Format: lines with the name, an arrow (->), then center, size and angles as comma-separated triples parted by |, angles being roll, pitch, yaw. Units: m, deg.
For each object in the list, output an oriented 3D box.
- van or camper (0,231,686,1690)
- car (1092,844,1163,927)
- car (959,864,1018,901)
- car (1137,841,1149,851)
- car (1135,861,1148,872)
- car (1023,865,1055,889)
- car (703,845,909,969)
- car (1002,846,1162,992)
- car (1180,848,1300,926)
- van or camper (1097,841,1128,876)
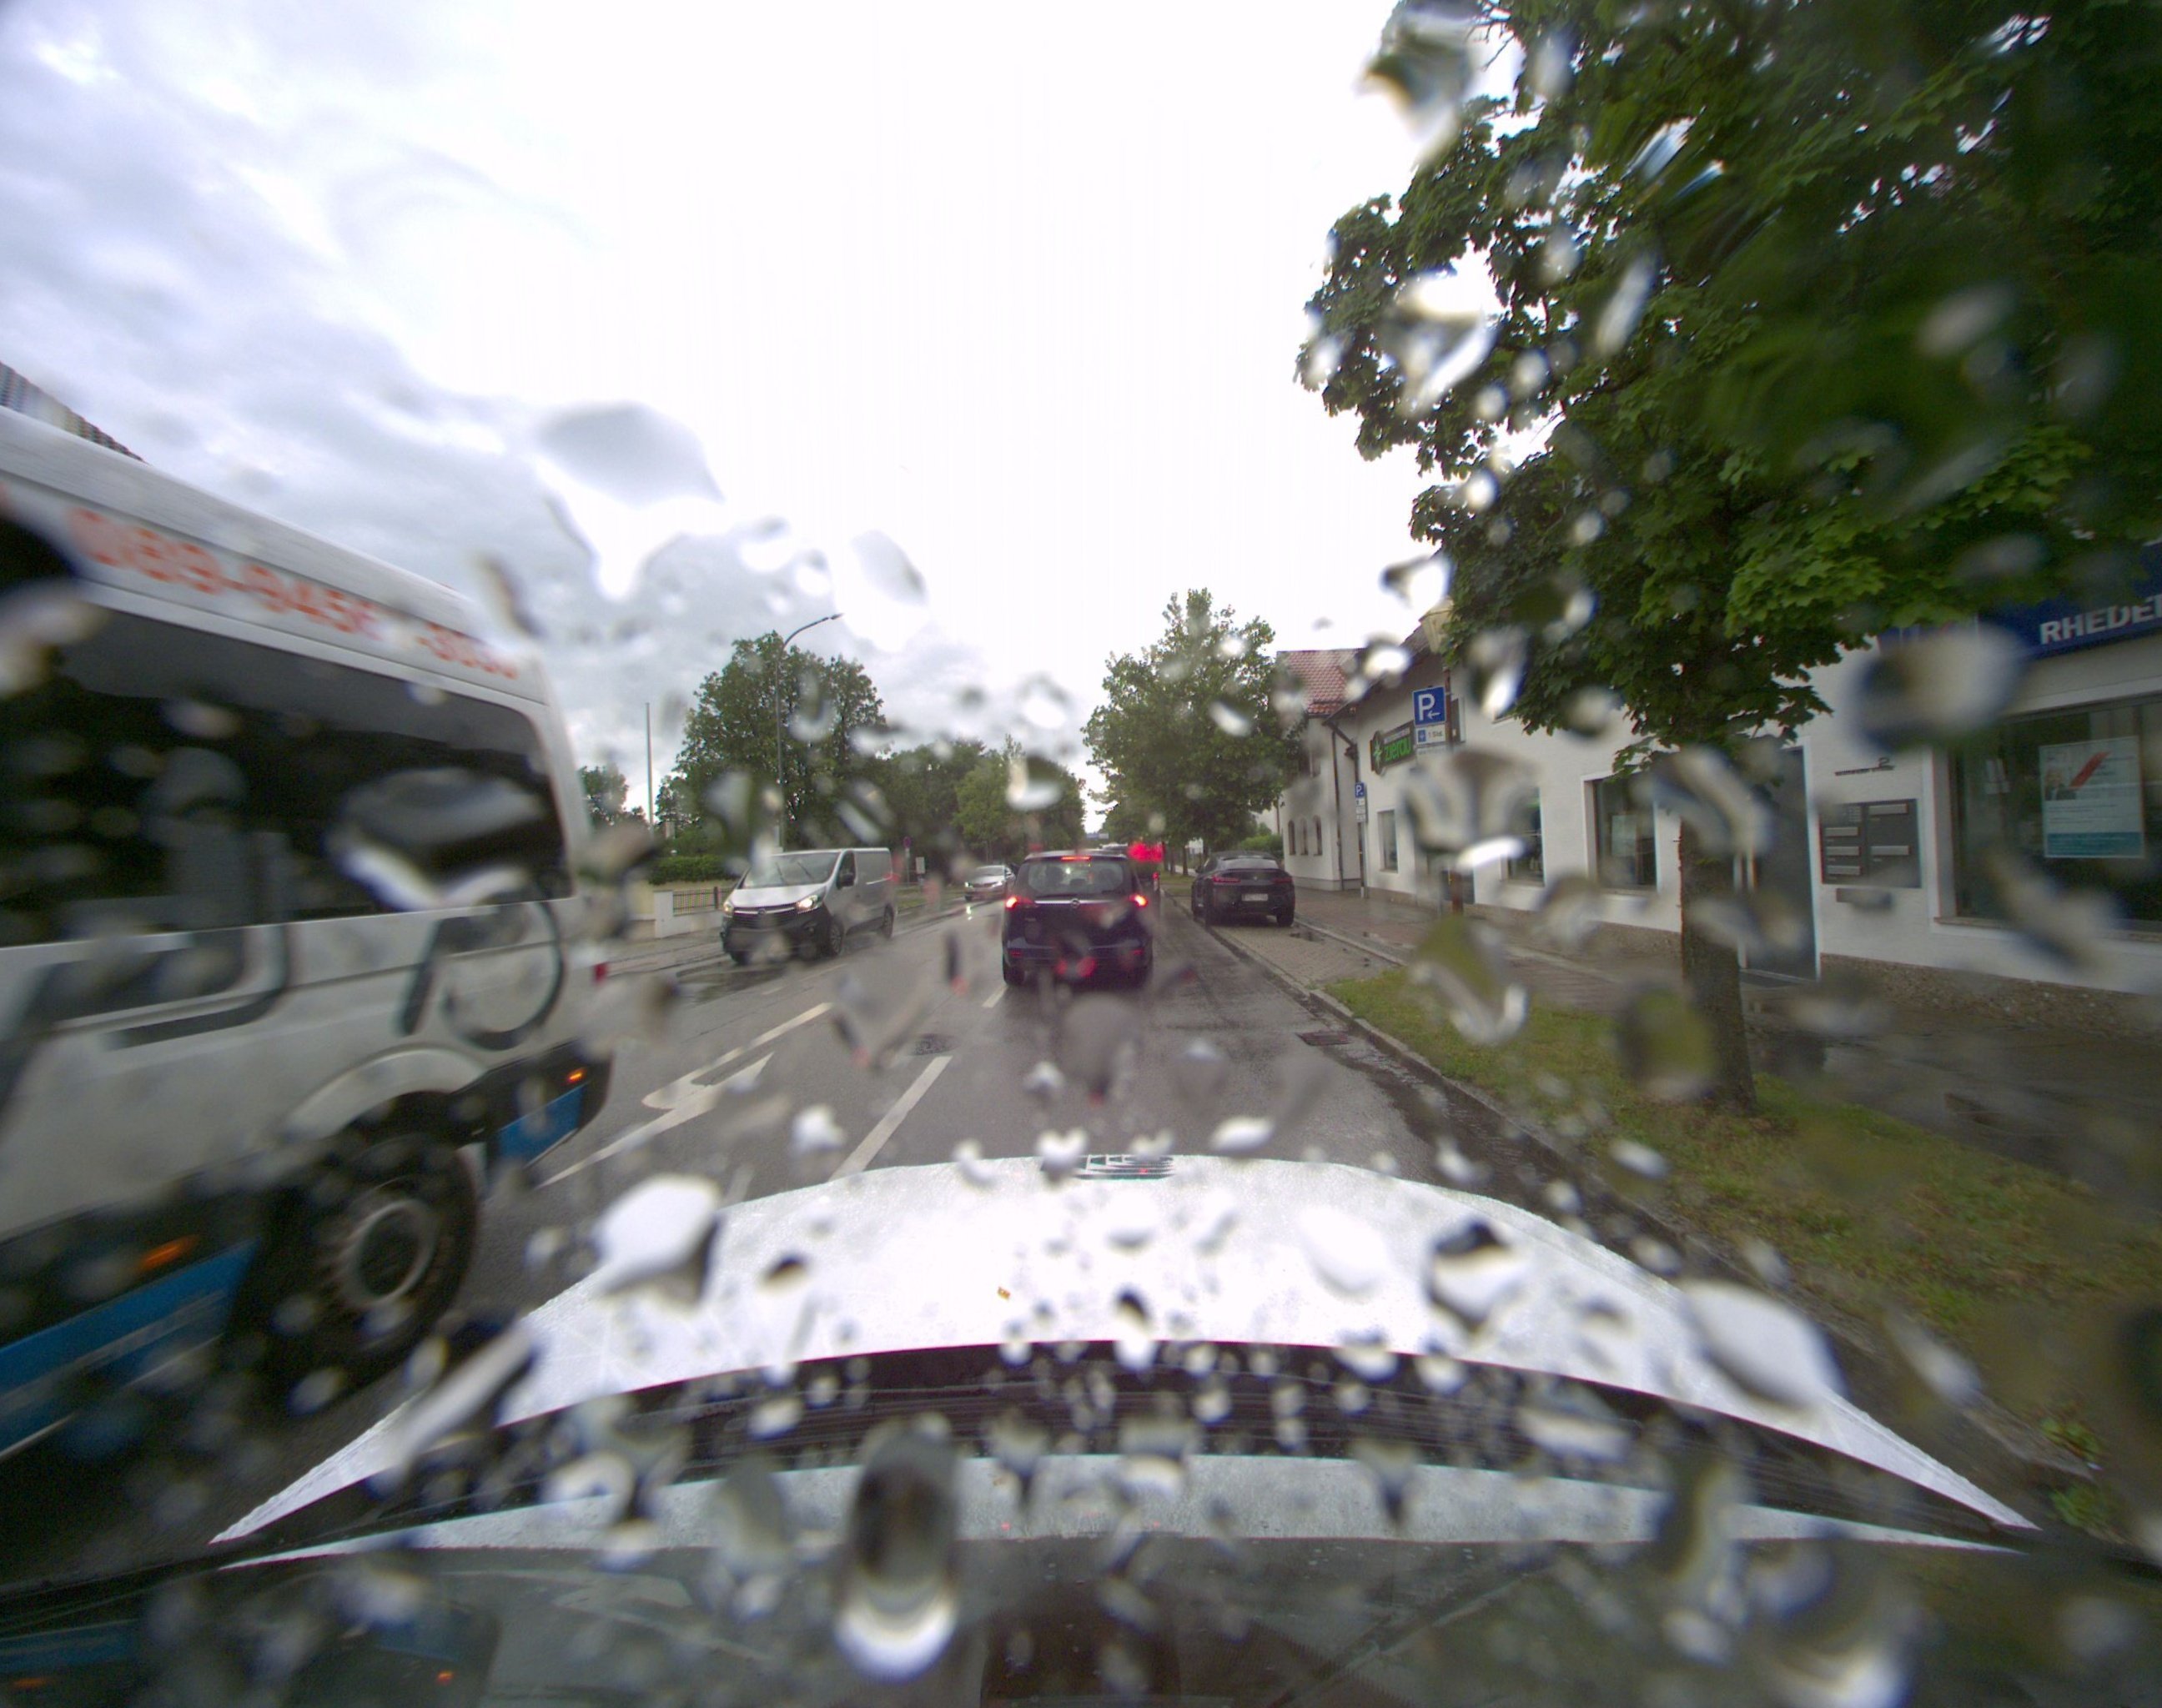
van or camper -> -3.111, 0.204, 0.654 | 2.085, 2.707, 6.274 | -3, 0, 4
car -> 1.069, 0.688, 19.194 | 1.494, 1.776, 3.113 | -1, 0, 2
car -> -4.003, 1.192, 35.766 | 1.770, 1.375, 4.188 | -4, 0, 4
car -> 8.870, -1.142, 116.832 | 1.624, 1.378, 3.624 | -4, -1, 2
car -> 7.972, 1.622, 107.341 | 1.624, 1.378, 3.624 | -1, -1, 2
car -> -2.769, 1.489, 54.389 | 1.573, 1.375, 4.188 | -4, 0, 4
car -> -5.063, 0.884, 15.955 | 1.808, 1.891, 5.263 | -5, -1, 4
car -> 0.087, 0.744, 10.950 | 1.762, 1.604, 3.665 | -1, 0, 2
car -> 3.531, 0.710, 18.850 | 2.109, 1.581, 3.937 | -1, -1, 2
van or camper -> 2.633, 0.376, 67.916 | 2.351, 2.665, 5.374 | -3, 0, 2
